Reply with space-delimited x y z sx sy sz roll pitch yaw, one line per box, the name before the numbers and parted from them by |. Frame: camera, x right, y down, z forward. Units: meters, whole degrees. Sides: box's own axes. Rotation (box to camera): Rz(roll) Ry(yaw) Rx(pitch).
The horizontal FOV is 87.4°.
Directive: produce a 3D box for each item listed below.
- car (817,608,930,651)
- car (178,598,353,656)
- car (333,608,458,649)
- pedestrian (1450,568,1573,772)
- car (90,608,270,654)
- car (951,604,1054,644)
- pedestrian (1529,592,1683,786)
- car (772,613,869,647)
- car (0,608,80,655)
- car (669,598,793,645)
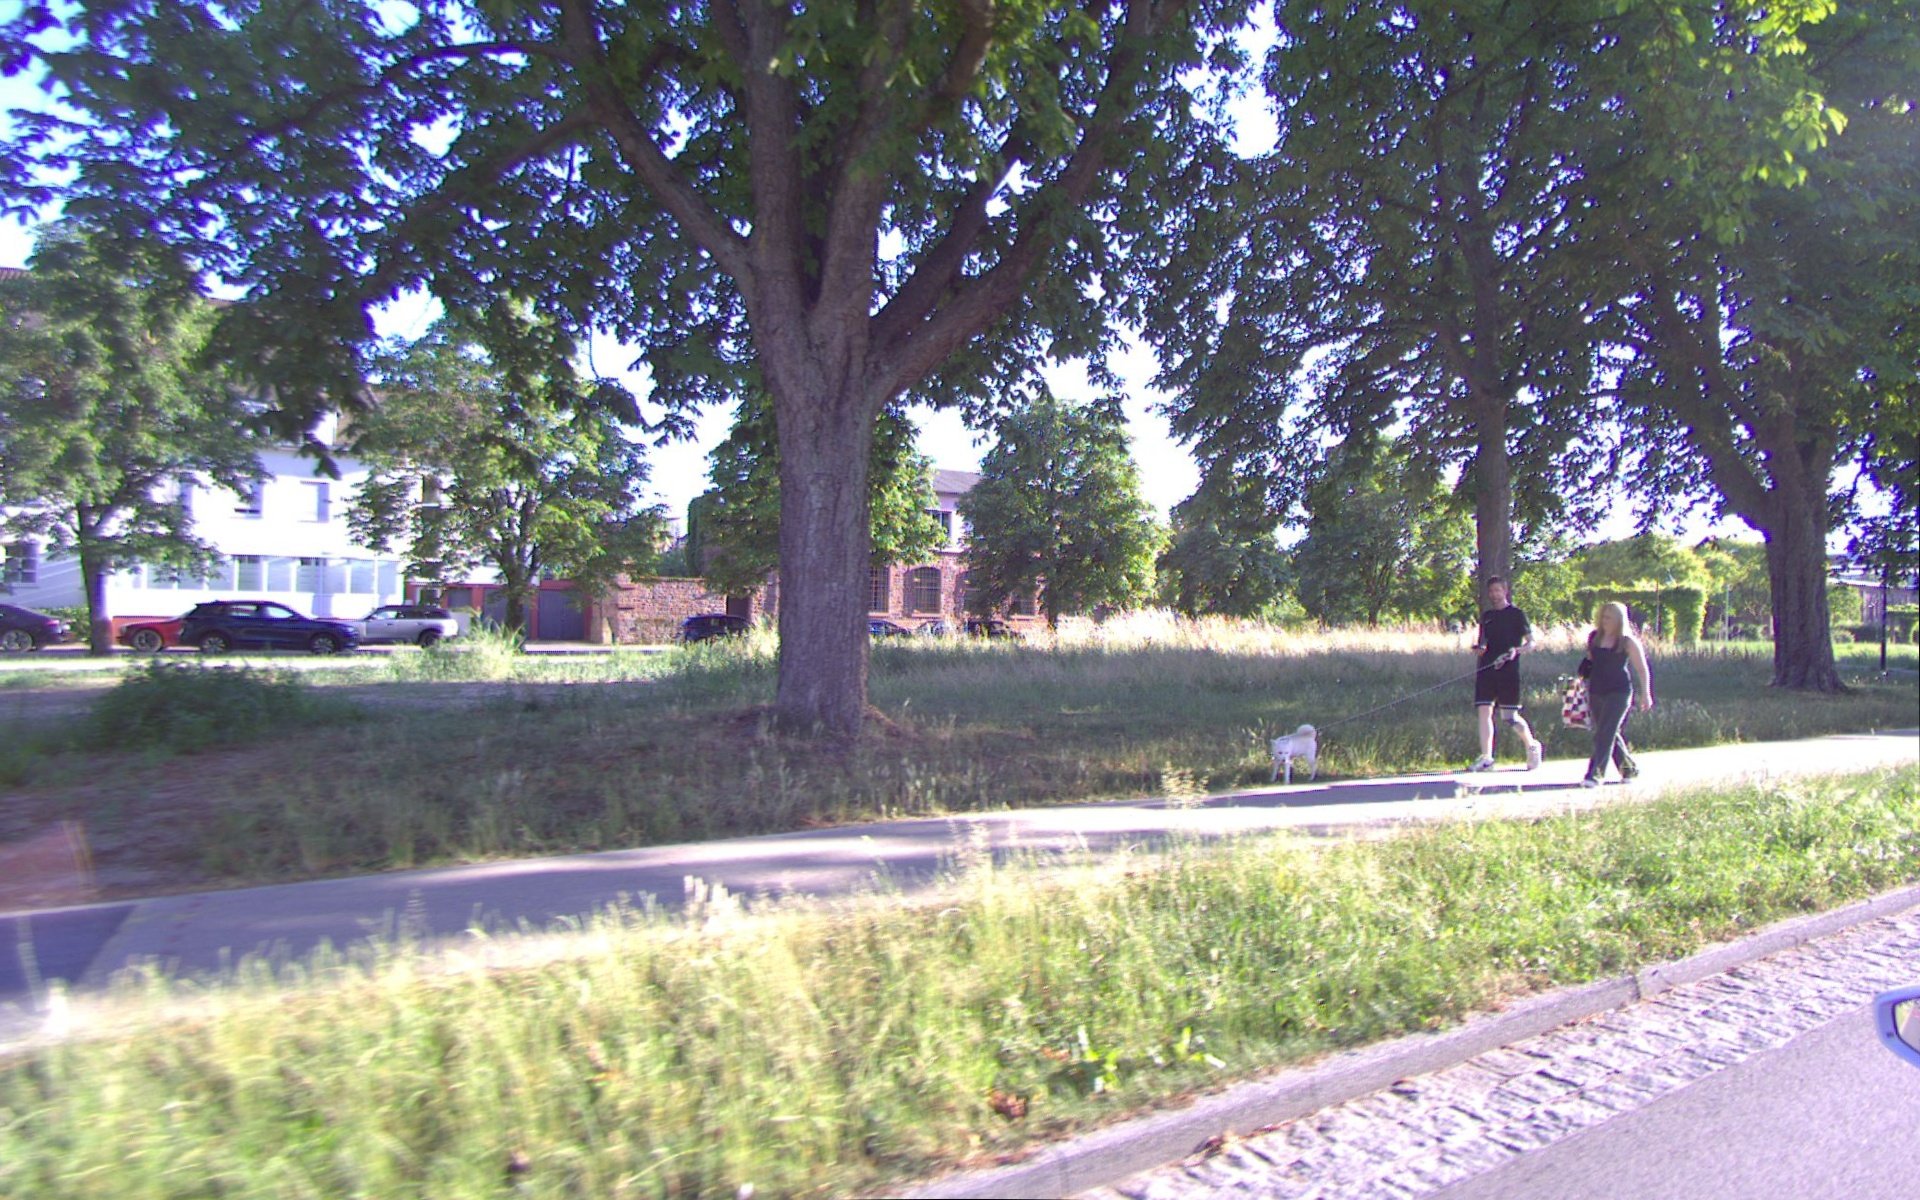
car | -3.453 1.189 40.247 4.173 1.619 1.684 2 0 -31
car | -20.726 0.816 30.208 4.173 1.619 1.684 2 0 -31
car | -20.285 1.034 36.231 3.805 1.350 1.563 2 0 -29
pedestrian | 5.264 0.646 9.599 0.874 1.855 0.622 1 0 -26
car | -25.434 1.035 32.948 4.424 1.350 1.563 2 0 -29
car | 1.856 1.050 43.339 4.173 1.619 1.684 2 0 -31
pedestrian | 5.800 0.760 9.038 0.939 1.636 0.780 1 0 -26
car | -6.219 1.350 44.904 3.953 1.424 1.621 2 0 -30
car | -29.930 0.945 30.588 4.426 1.350 1.563 2 0 -29
car | -8.524 0.808 37.505 4.173 1.619 1.684 2 0 -31
